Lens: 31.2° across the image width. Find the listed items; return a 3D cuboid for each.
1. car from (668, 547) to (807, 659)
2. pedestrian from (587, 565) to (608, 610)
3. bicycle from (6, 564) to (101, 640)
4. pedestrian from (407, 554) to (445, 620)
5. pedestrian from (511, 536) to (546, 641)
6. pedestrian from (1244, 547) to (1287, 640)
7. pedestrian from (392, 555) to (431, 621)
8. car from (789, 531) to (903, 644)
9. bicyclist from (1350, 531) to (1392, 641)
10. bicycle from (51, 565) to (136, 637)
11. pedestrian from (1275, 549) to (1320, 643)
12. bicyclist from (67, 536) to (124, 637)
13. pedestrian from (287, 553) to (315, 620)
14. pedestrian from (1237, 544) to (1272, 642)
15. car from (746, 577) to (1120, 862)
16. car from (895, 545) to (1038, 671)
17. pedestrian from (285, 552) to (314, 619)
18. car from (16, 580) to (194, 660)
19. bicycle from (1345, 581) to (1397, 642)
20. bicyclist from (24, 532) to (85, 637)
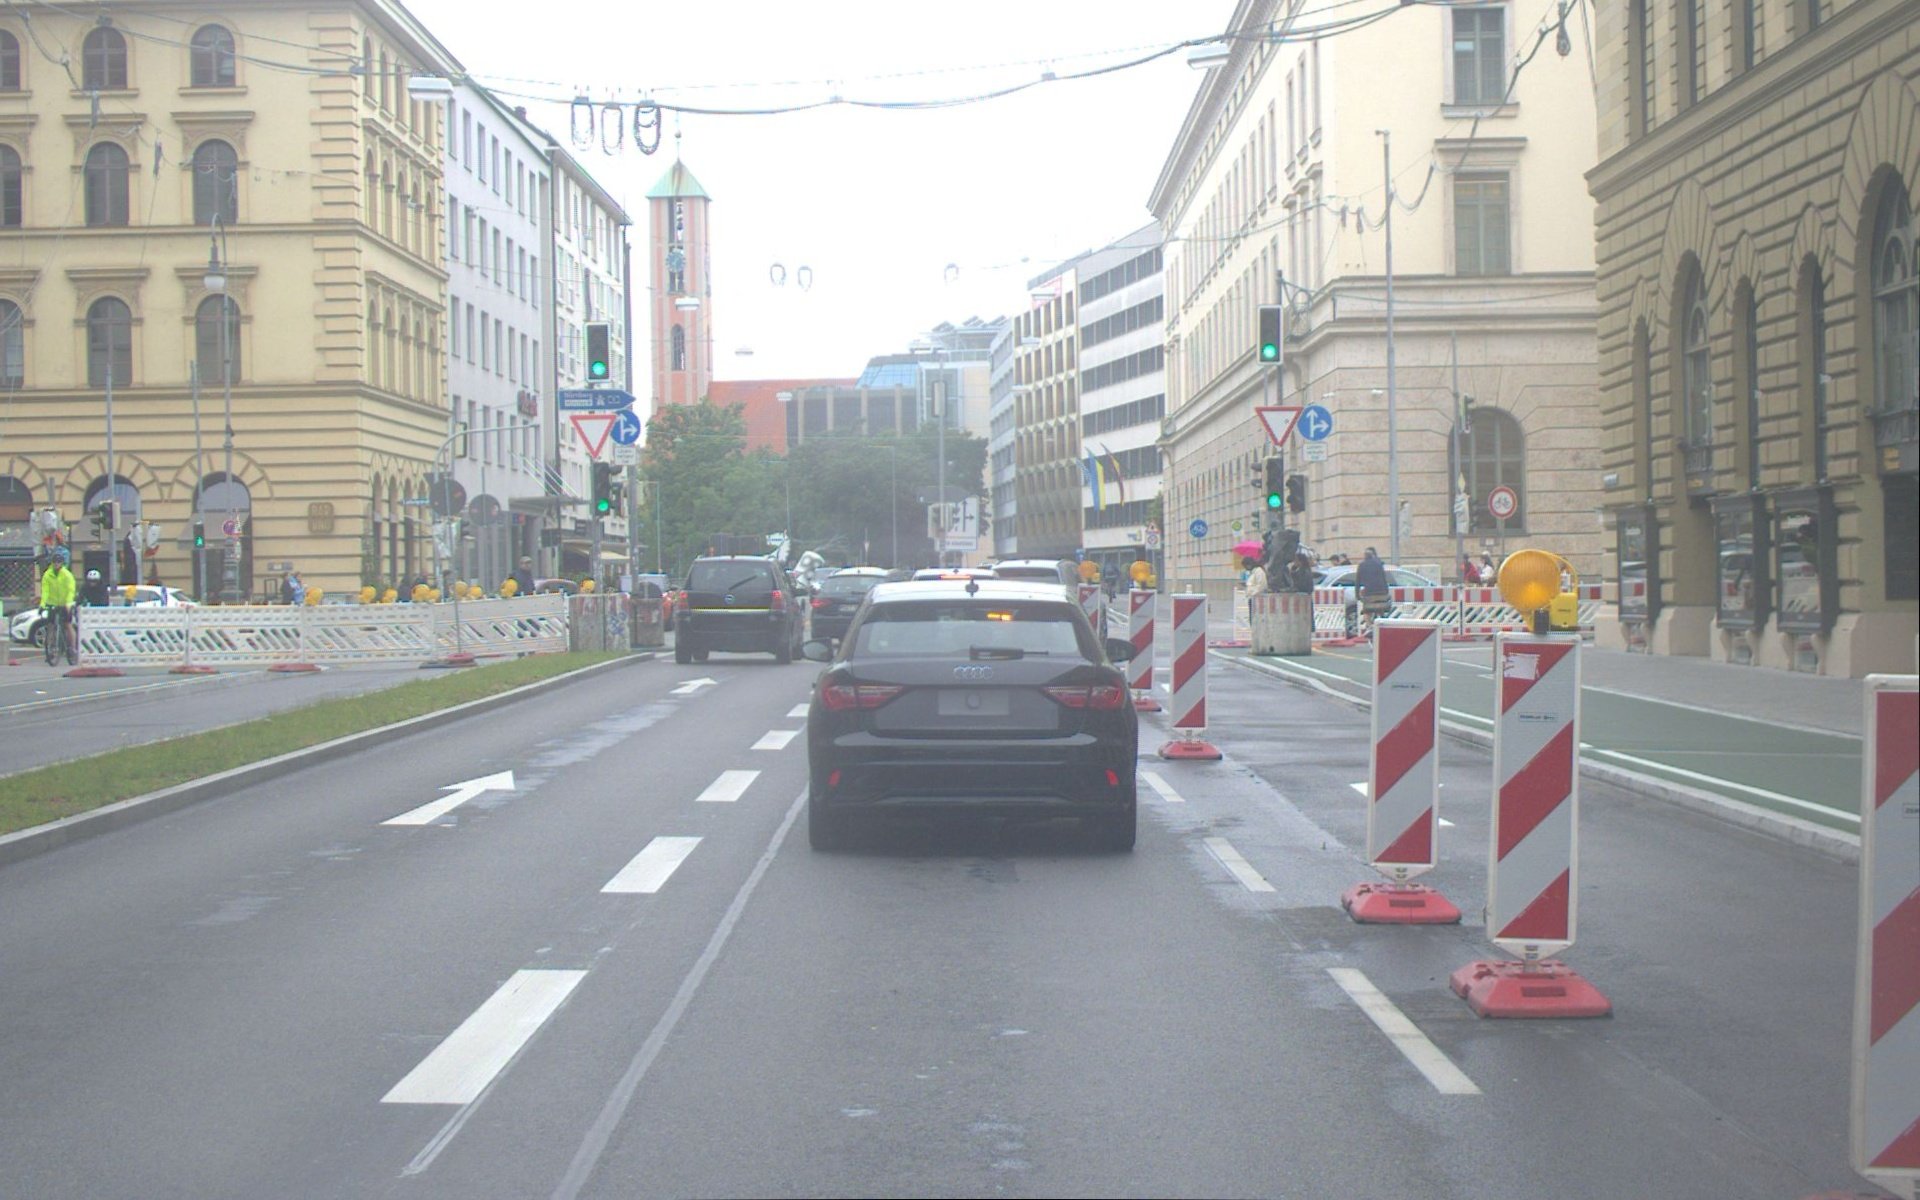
[{"bbox_3d":[-3.323,0.020,52.032,1.865,1.596,3.851,-1,1,0],"label":"car"},{"bbox_3d":[-14.071,-0.490,133.490,0.737,1.766,0.736,0,1,0],"label":"pedestrian"},{"bbox_3d":[-15.187,0.021,57.660,0.787,1.238,2.448,0,1,4],"label":"bicycle"},{"bbox_3d":[-14.364,-0.346,92.529,0.734,1.766,0.738,1,1,21],"label":"pedestrian"},{"bbox_3d":[-7.211,-0.200,57.469,0.512,1.737,1.043,-1,1,-10],"label":"pedestrian"},{"bbox_3d":[5.209,-0.114,58.649,0.702,1.562,0.584,0,1,2],"label":"pedestrian"},{"bbox_3d":[-14.654,-0.326,91.790,0.734,1.766,0.760,1,1,21],"label":"pedestrian"},{"bbox_3d":[-2.096,-0.252,64.168,1.993,2.007,4.000,-1,1,0],"label":"car"},{"bbox_3d":[6.991,-0.242,58.504,0.566,1.847,0.799,0,1,-4],"label":"bicyclist"},{"bbox_3d":[-15.298,0.012,60.764,0.787,1.238,2.199,0,1,4],"label":"bicycle"},{"bbox_3d":[5.660,-0.069,57.739,0.702,1.562,0.681,0,1,2],"label":"pedestrian"},{"bbox_3d":[-15.291,-0.241,60.786,0.798,1.770,0.689,0,1,4],"label":"bicyclist"},{"bbox_3d":[-17.597,-0.365,91.815,0.733,1.766,0.739,0,1,-10],"label":"pedestrian"},{"bbox_3d":[4.864,-0.122,56.793,0.531,1.614,0.674,0,1,2],"label":"pedestrian"},{"bbox_3d":[-0.142,0.582,19.118,1.863,1.383,4.000,0,1,0],"label":"car"},{"bbox_3d":[0.043,0.080,46.378,1.769,1.611,4.000,0,1,-2],"label":"car"},{"bbox_3d":[-17.493,-0.384,91.063,0.733,1.766,0.739,0,1,-10],"label":"pedestrian"},{"bbox_3d":[-19.997,0.459,80.499,3.740,1.792,1.868,-1,0,-3],"label":"car"},{"bbox_3d":[6.990,0.190,58.518,0.584,1.008,1.657,0,1,-4],"label":"bicycle"},{"bbox_3d":[-15.180,-0.269,57.652,0.798,1.742,0.689,0,1,4],"label":"bicyclist"}]
